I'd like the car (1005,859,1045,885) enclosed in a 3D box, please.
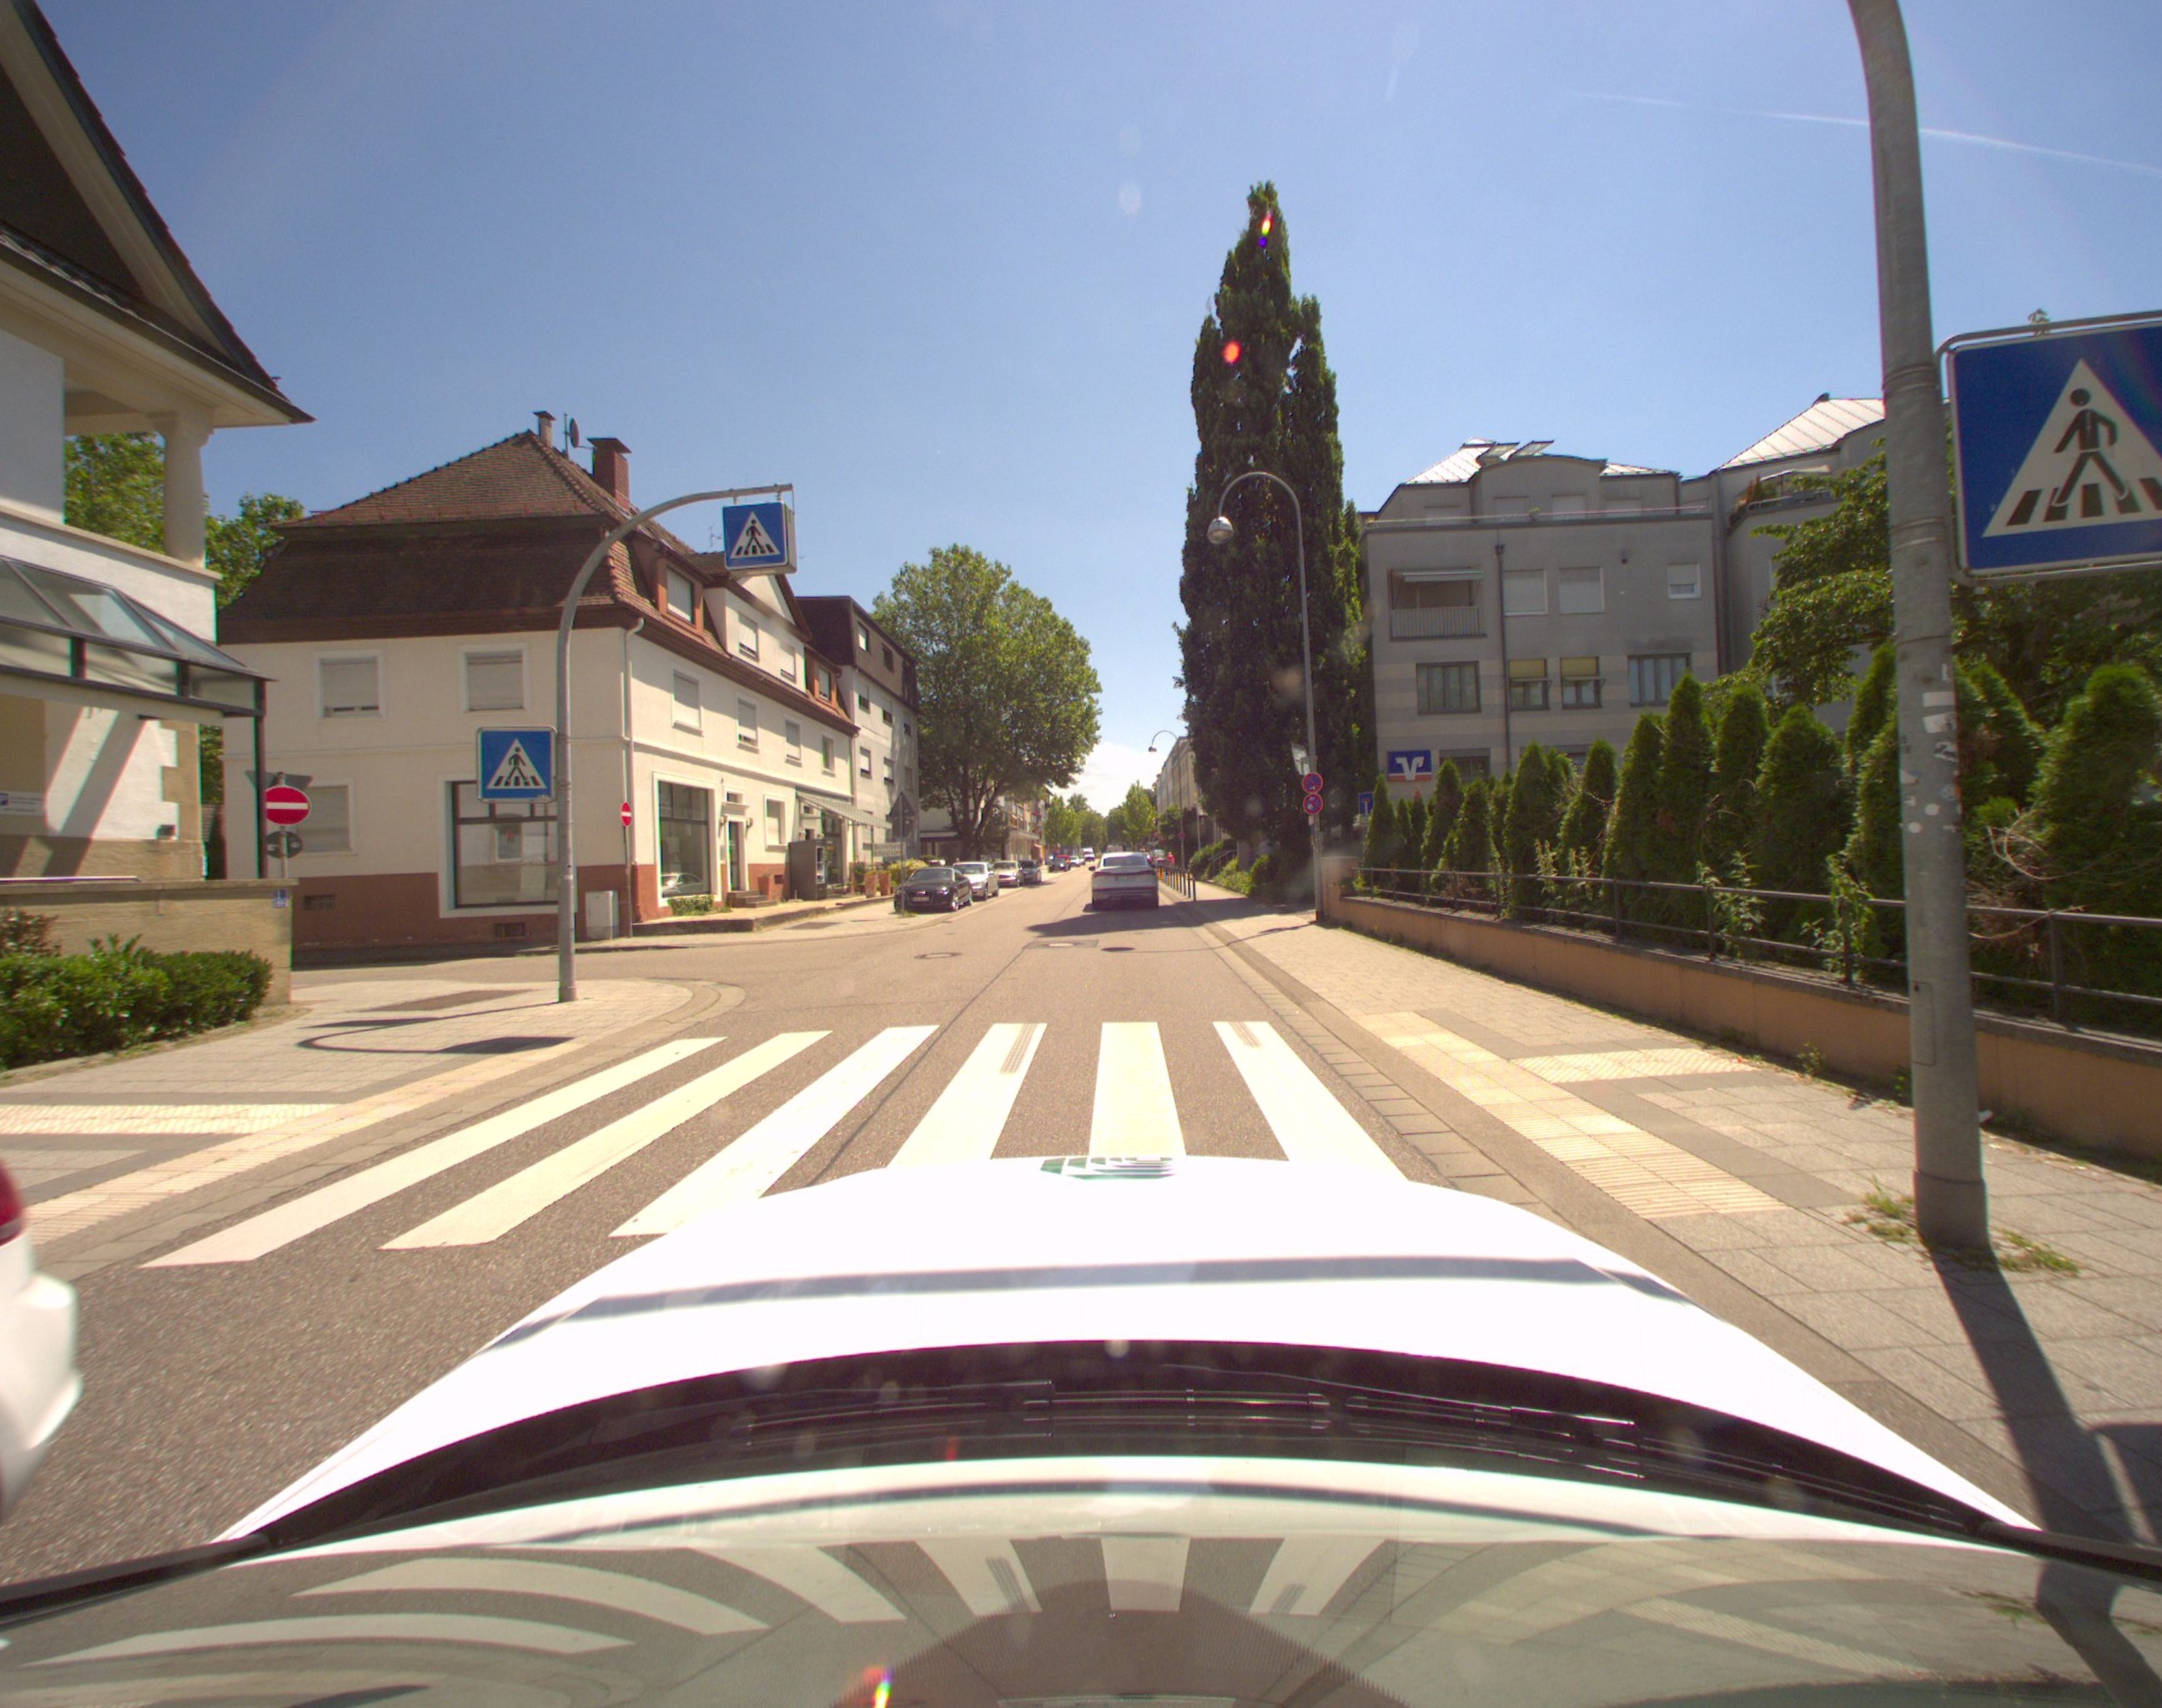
[{"bbox_3d":[-3.382,1.071,50.256,1.974,1.452,5.152,-1,0,1],"label":"car"}]

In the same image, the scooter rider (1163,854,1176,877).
[{"bbox_3d":[6.079,0.791,55.735,0.713,1.548,0.770,-3,0,0],"label":"scooter rider"}]

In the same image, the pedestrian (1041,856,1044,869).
[{"bbox_3d":[-5.334,1.200,113.079,0.394,1.735,0.444,-2,-1,-9],"label":"pedestrian"}]

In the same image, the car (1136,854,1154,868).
[{"bbox_3d":[7.227,0.793,92.220,1.888,1.438,4.549,-2,0,4],"label":"car"}]

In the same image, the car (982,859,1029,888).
[{"bbox_3d":[-4.033,1.031,44.376,1.974,1.452,4.869,-1,0,1],"label":"car"}]

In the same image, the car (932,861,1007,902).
[{"bbox_3d":[-4.330,1.029,32.649,1.973,1.452,5.362,-1,0,3],"label":"car"}]

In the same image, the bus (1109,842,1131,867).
[{"bbox_3d":[5.424,0.093,112.566,2.648,3.221,7.311,0,0,5],"label":"bus"}]

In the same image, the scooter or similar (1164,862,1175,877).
[{"bbox_3d":[6.106,1.056,56.342,0.660,0.963,0.754,-3,0,2],"label":"scooter or similar"}]

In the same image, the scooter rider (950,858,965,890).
[{"bbox_3d":[-6.322,1.015,41.647,0.586,1.575,0.878,0,0,3],"label":"scooter rider"}]

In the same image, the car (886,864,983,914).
[{"bbox_3d":[-4.628,1.070,26.582,1.934,1.373,5.102,-2,0,3],"label":"car"}]

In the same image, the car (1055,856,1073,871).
[{"bbox_3d":[-1.893,1.028,91.804,1.746,1.702,4.103,0,0,2],"label":"car"}]

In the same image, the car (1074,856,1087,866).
[{"bbox_3d":[-0.084,1.104,125.961,1.744,1.453,4.406,0,0,4],"label":"car"}]

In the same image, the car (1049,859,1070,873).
[{"bbox_3d":[-2.211,1.234,85.331,1.889,1.417,5.050,0,0,2],"label":"car"}]

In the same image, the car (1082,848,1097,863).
[{"bbox_3d":[1.588,0.290,156.032,2.034,2.630,7.093,-4,0,-5],"label":"car"}]

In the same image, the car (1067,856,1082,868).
[{"bbox_3d":[-0.871,1.140,115.107,1.745,1.618,4.405,0,0,4],"label":"car"}]

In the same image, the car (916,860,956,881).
[{"bbox_3d":[-11.098,1.248,62.165,1.902,1.486,3.959,-2,0,-28],"label":"car"}]

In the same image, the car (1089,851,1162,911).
[{"bbox_3d":[1.269,0.742,24.396,1.986,1.633,4.001,-1,0,1],"label":"car"}]

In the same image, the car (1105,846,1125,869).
[{"bbox_3d":[3.782,0.380,90.079,2.147,2.442,5.287,0,0,3],"label":"car"}]

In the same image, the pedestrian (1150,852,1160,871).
[{"bbox_3d":[6.547,0.702,72.198,0.697,1.626,0.784,-5,-1,1],"label":"pedestrian"}]
